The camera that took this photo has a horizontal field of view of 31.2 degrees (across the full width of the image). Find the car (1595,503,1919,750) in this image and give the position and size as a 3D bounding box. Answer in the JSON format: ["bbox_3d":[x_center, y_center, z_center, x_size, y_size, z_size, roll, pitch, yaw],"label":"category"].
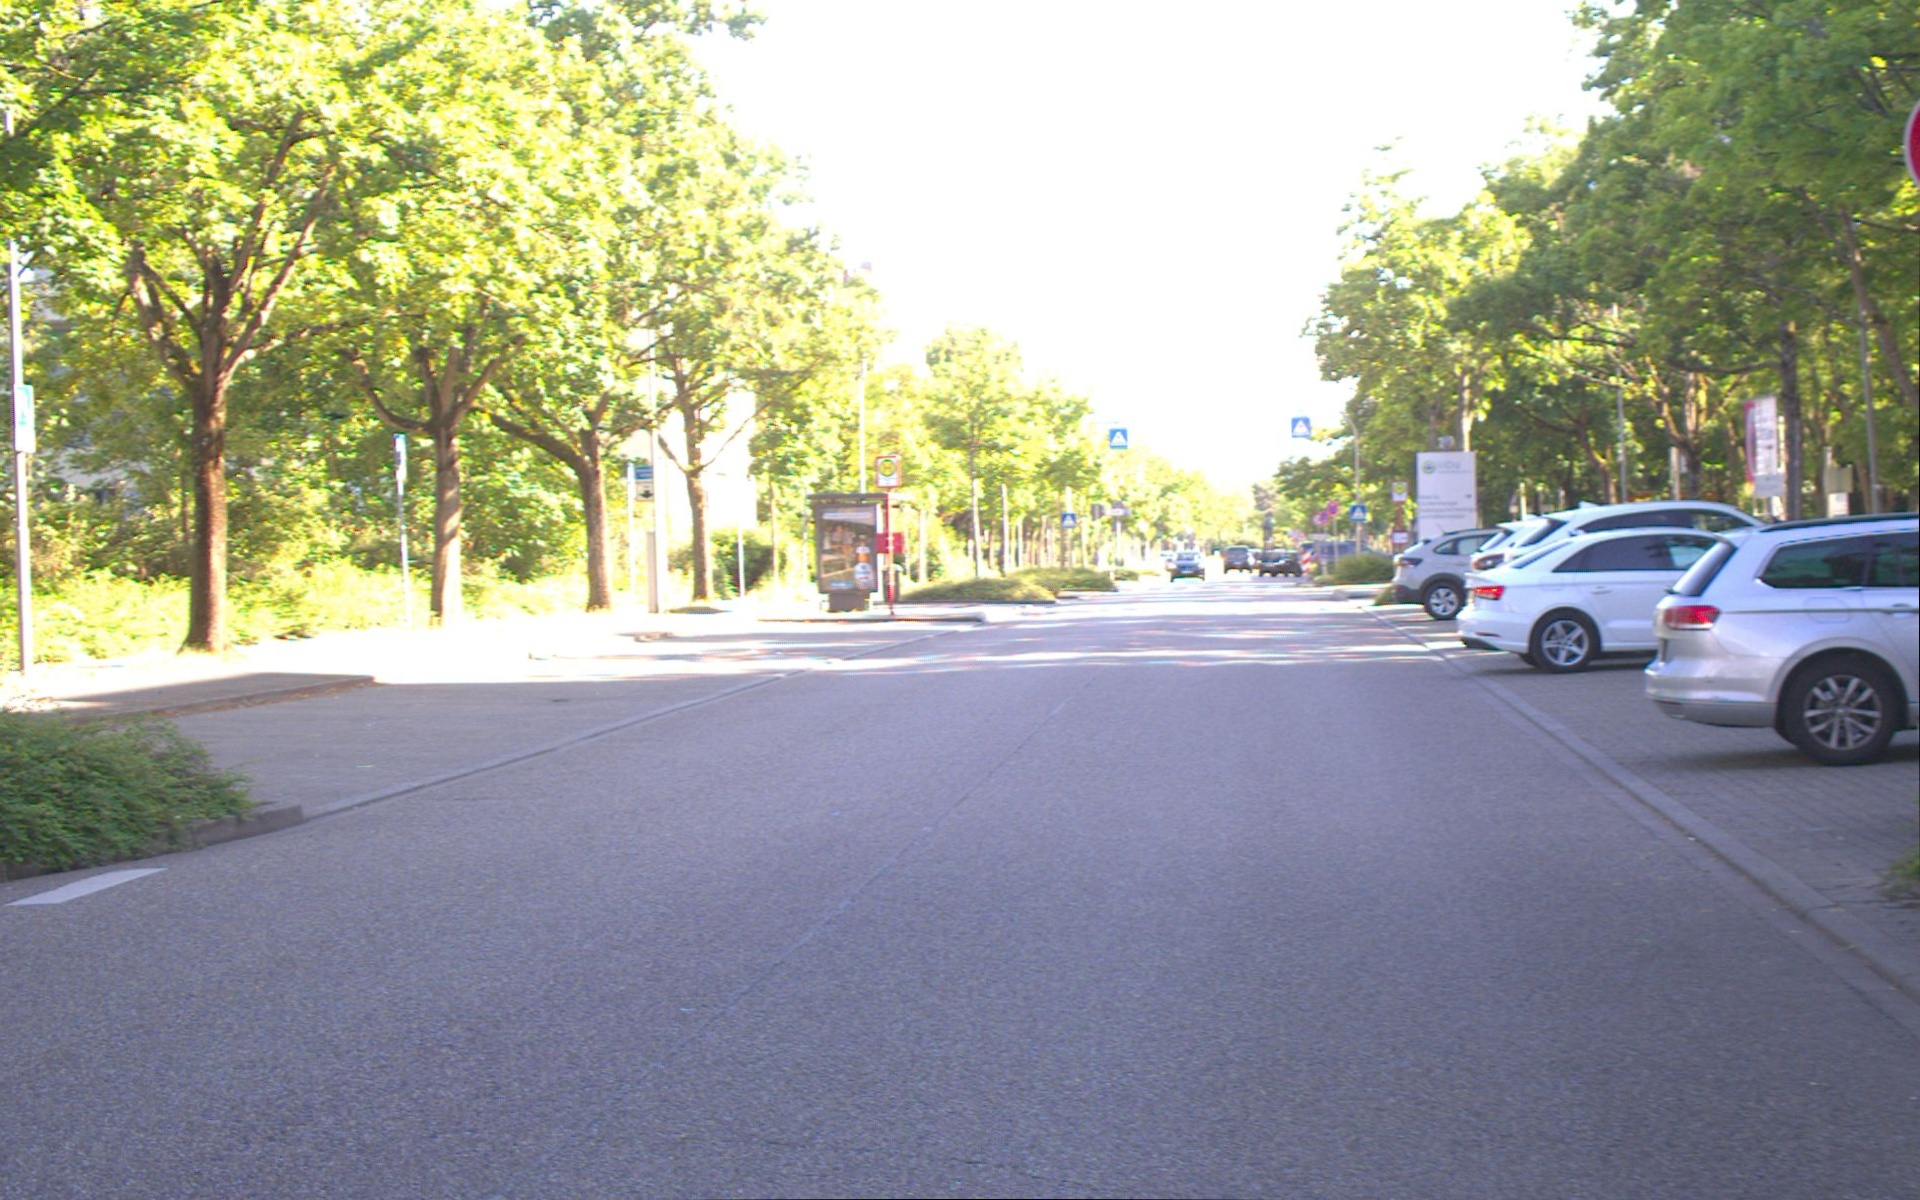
[{"bbox_3d":[6.054,0.127,20.876,4.276,1.423,1.827,-1,1,10],"label":"car"}]

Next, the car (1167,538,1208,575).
[{"bbox_3d":[11.054,-2.137,166.874,1.829,1.769,3.739,-1,1,5],"label":"car"}]

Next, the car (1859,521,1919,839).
[{"bbox_3d":[6.403,0.264,16.029,3.988,1.446,1.717,-3,1,6],"label":"car"}]

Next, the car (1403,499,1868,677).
[{"bbox_3d":[6.769,-0.130,34.779,4.343,1.484,1.738,-4,1,4],"label":"car"}]

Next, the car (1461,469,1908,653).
[{"bbox_3d":[7.815,-0.431,37.387,4.435,1.642,1.816,-4,1,4],"label":"car"}]

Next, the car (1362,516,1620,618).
[{"bbox_3d":[9.076,-0.569,59.029,4.165,1.423,2.000,-4,1,5],"label":"car"}]

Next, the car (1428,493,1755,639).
[{"bbox_3d":[7.728,-0.428,42.318,3.689,1.517,1.650,-4,1,4],"label":"car"}]

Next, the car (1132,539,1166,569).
[{"bbox_3d":[11.823,-2.890,214.773,1.994,1.795,3.999,-1,1,5],"label":"car"}]

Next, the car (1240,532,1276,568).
[{"bbox_3d":[17.012,-2.864,196.255,1.994,2.007,3.999,-1,1,5],"label":"car"}]

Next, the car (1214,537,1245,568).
[{"bbox_3d":[18.051,-3.209,230.546,1.994,2.007,3.999,-1,1,5],"label":"car"}]
